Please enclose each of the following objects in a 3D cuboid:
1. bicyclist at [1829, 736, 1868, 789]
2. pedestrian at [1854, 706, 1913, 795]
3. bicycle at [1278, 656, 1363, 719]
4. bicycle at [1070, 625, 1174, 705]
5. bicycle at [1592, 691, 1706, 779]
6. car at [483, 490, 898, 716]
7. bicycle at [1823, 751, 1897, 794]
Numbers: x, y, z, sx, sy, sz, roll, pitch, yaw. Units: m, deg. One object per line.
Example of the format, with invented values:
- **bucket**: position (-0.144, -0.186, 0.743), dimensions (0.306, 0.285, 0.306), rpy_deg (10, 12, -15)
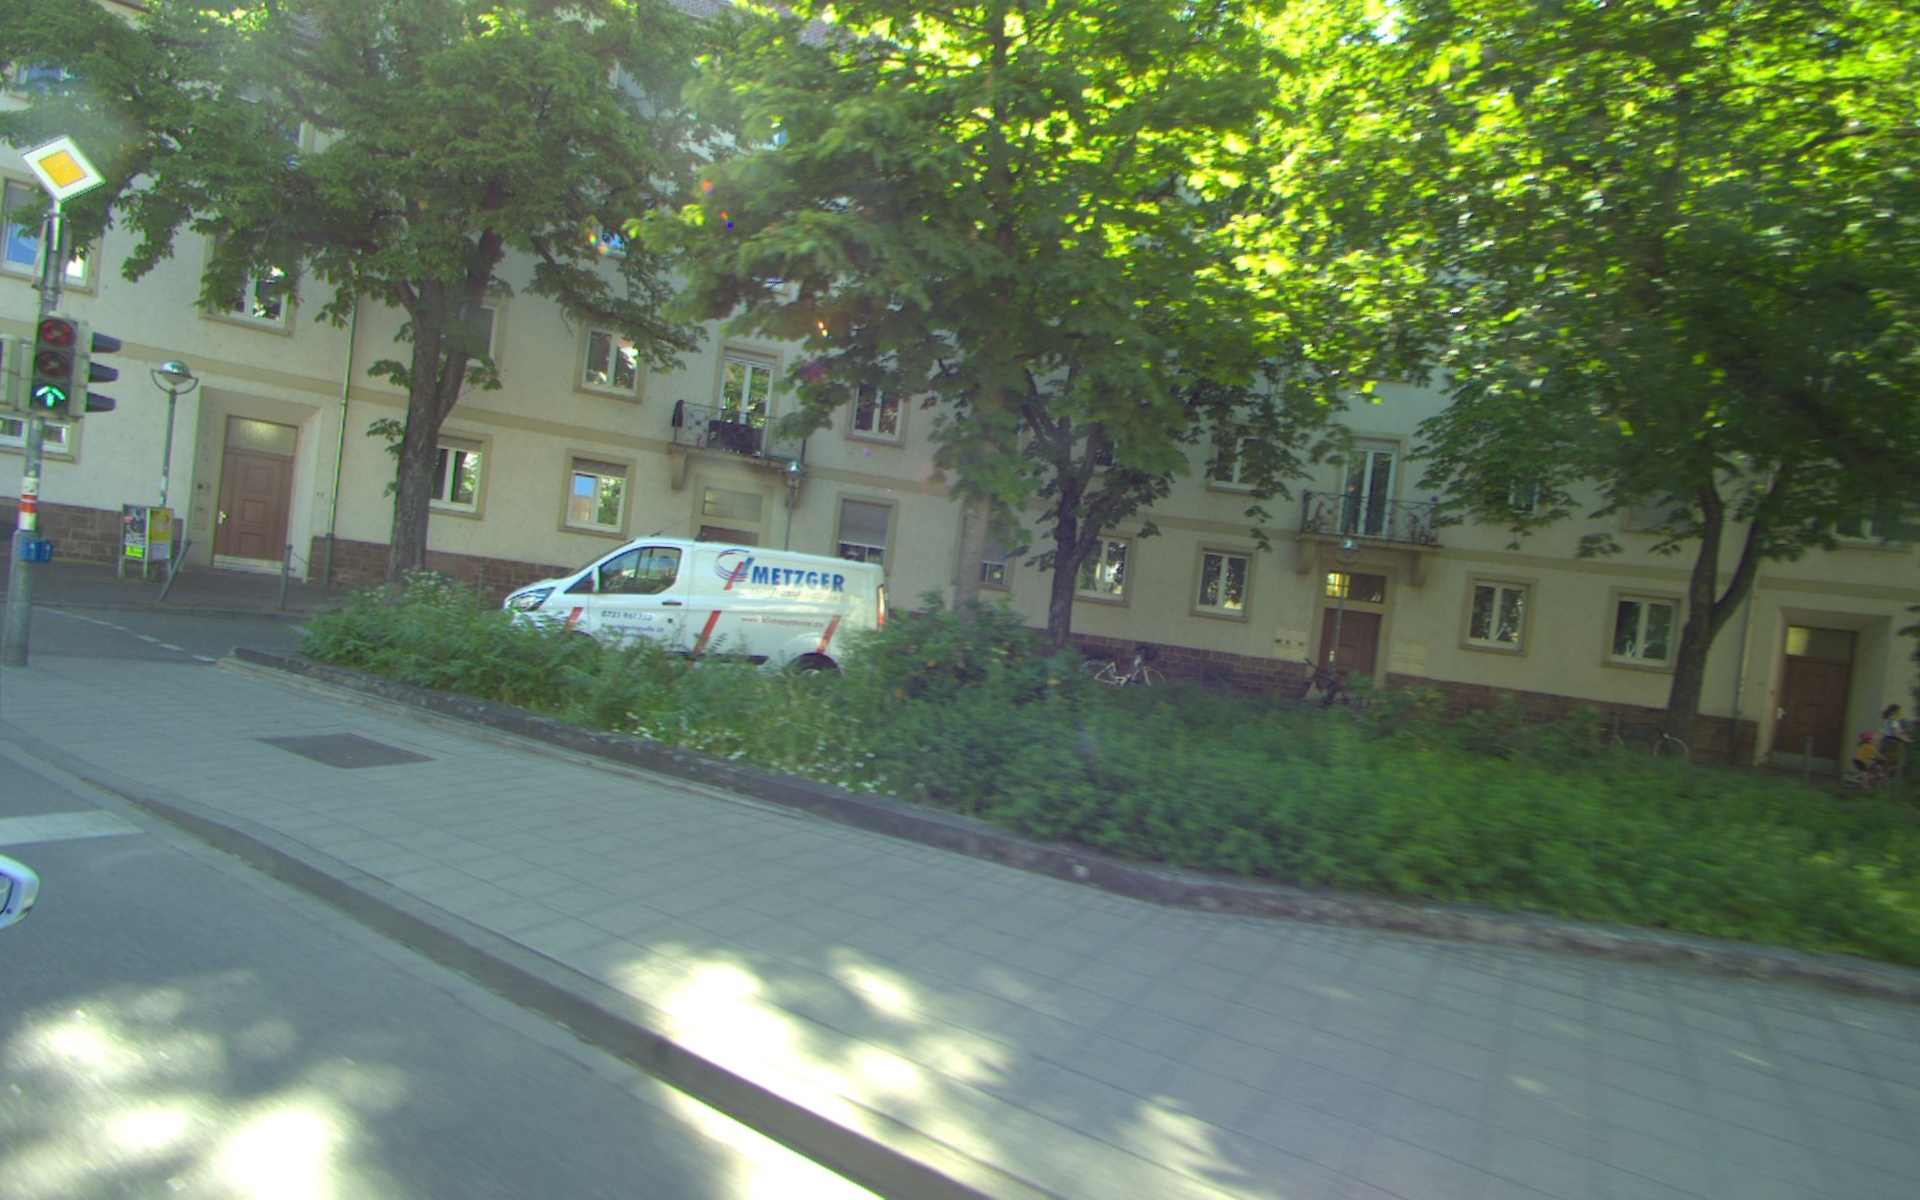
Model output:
- **bicyclist**: position (17.226, 3.145, 19.505), dimensions (0.386, 0.955, 0.339), rpy_deg (7, -1, 20)
- **pedestrian**: position (18.379, 2.981, 20.034), dimensions (0.619, 1.653, 0.571), rpy_deg (7, -1, 32)
- **bicycle**: position (7.709, 1.871, 21.522), dimensions (1.537, 1.131, 0.461), rpy_deg (6, 2, -2)
- **bicycle**: position (3.148, 1.260, 19.586), dimensions (1.798, 1.297, 0.427), rpy_deg (8, 3, -2)
- **bicycle**: position (12.337, 2.414, 18.044), dimensions (1.460, 1.297, 0.428), rpy_deg (8, 3, 13)
- **car**: position (-3.373, 0.099, 13.119), dimensions (4.684, 2.116, 1.683), rpy_deg (8, -1, -14)
- **bicycle**: position (17.343, 3.319, 19.395), dimensions (0.900, 0.644, 0.433), rpy_deg (7, -1, 20)
